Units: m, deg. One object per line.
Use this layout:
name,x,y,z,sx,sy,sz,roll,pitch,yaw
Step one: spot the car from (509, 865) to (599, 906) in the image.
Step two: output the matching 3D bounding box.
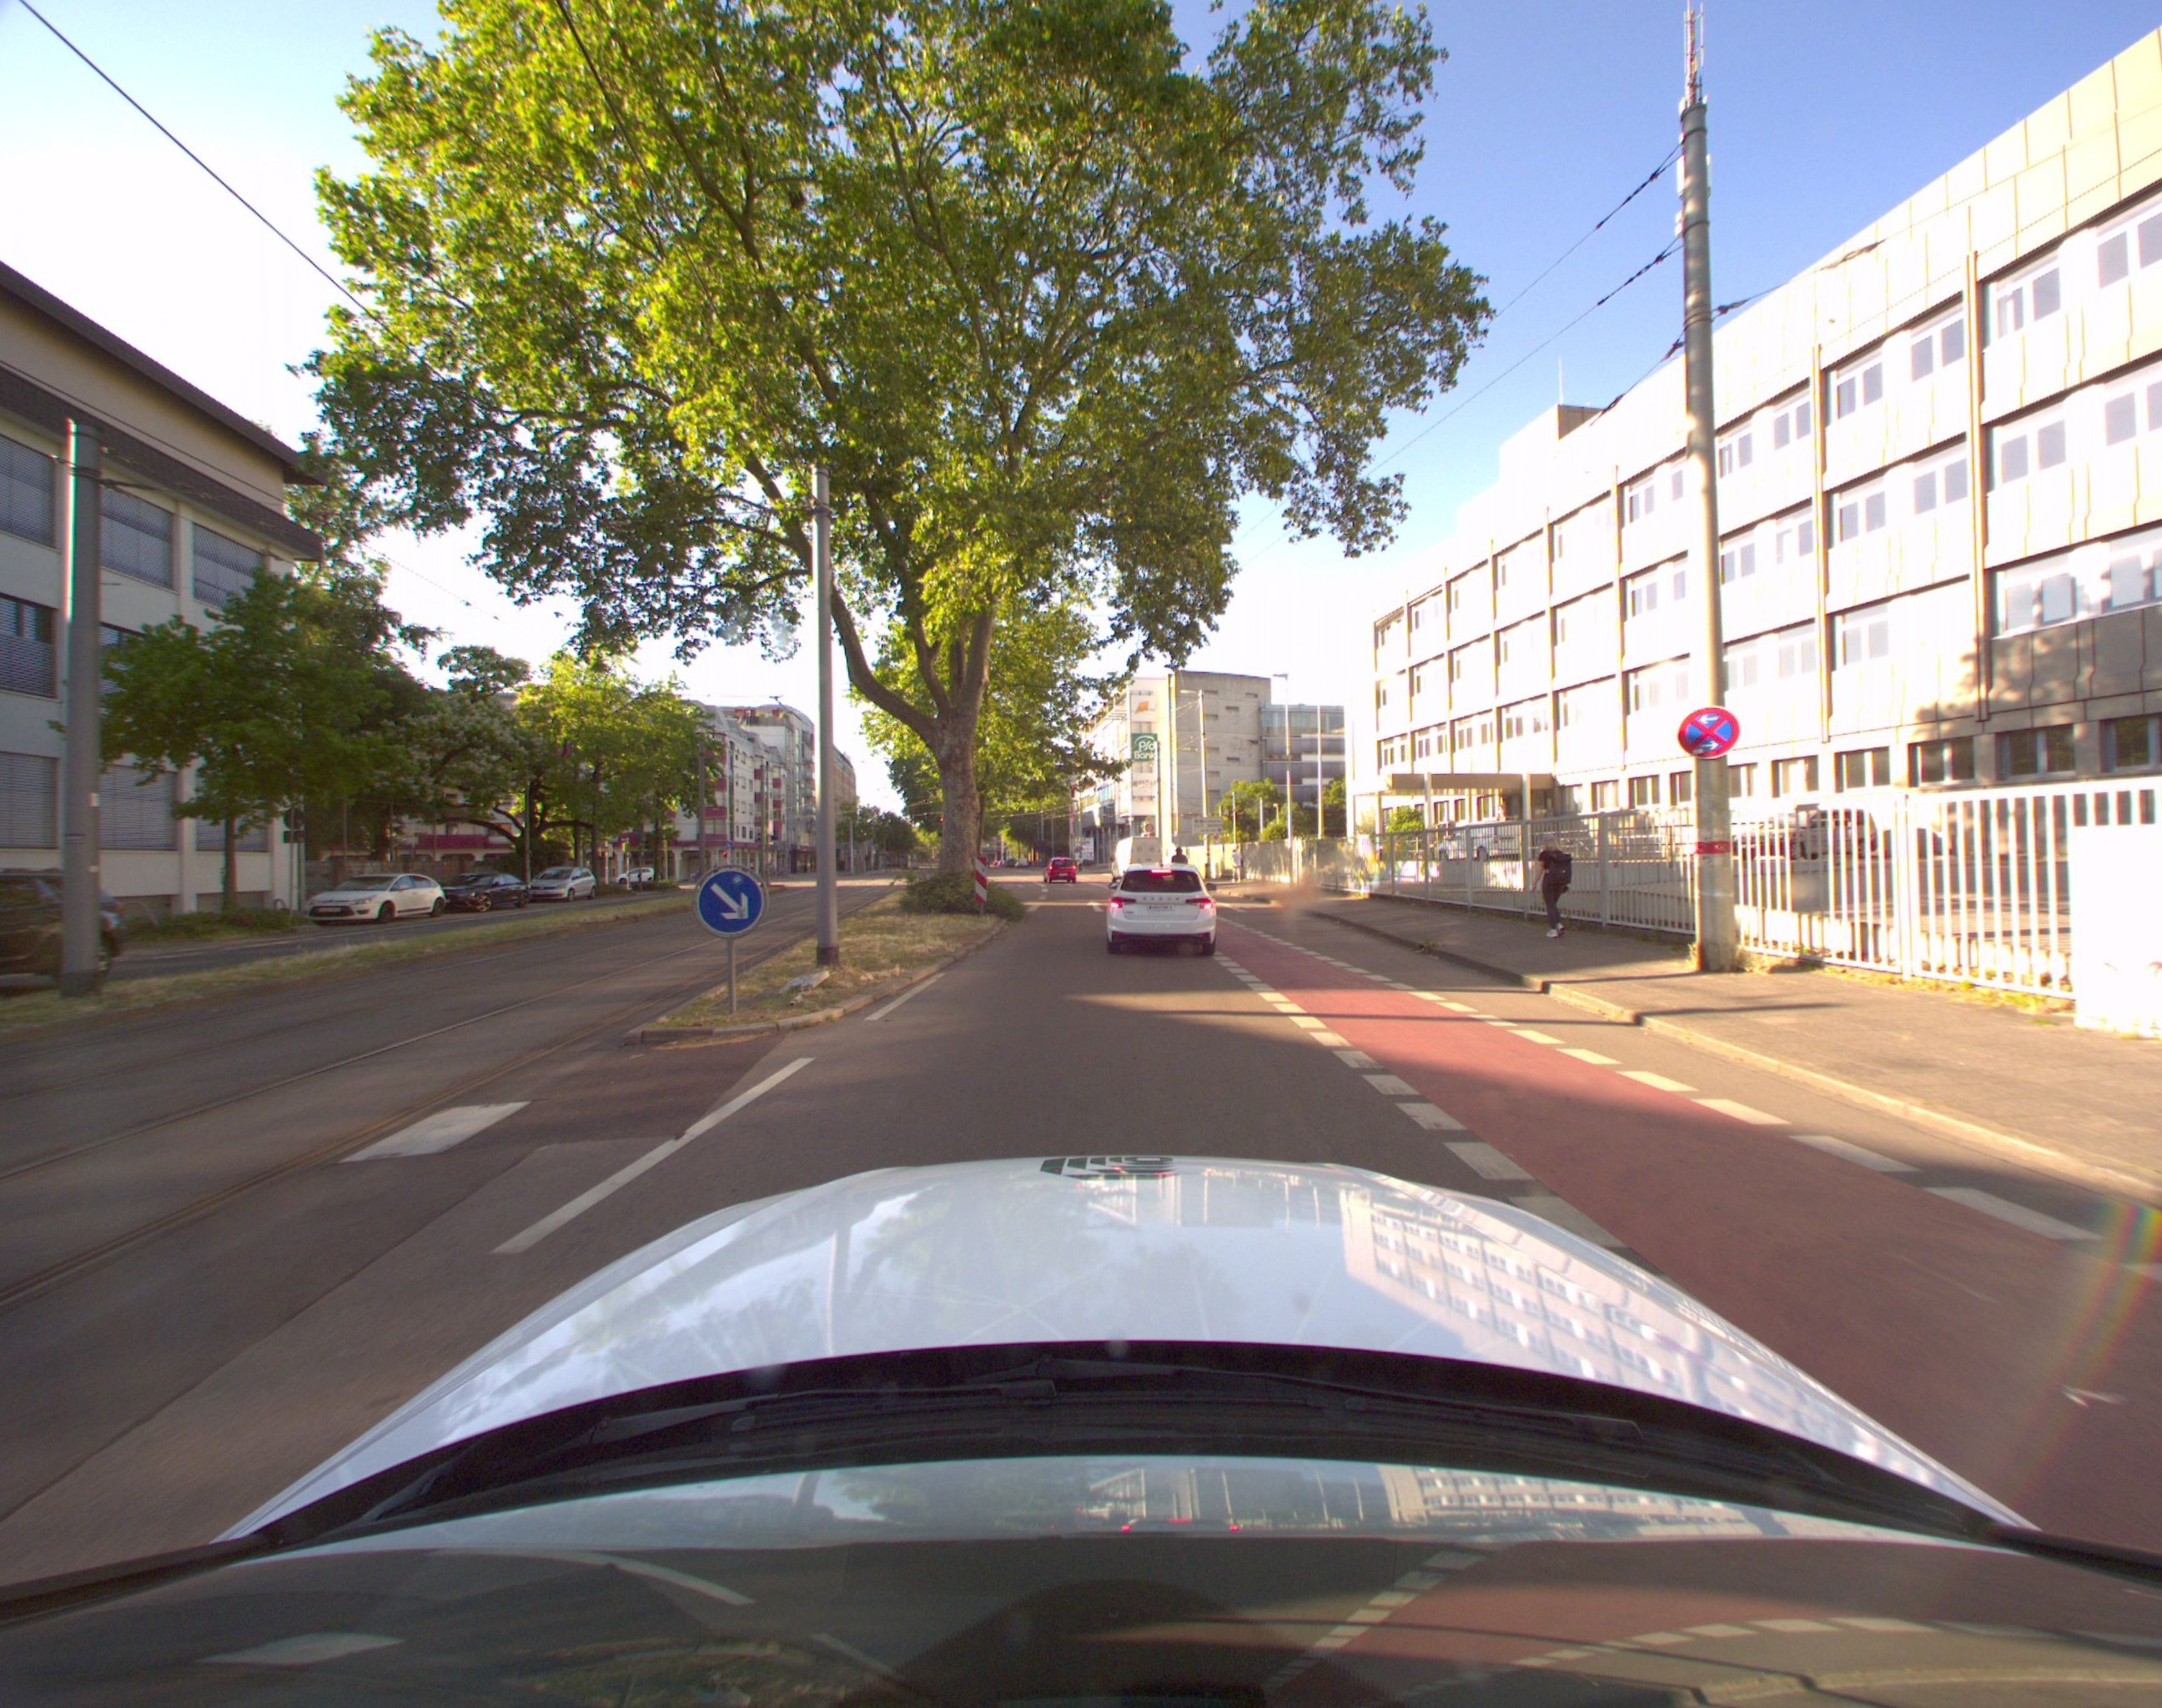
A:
car,-23.873,1.387,37.083,1.994,1.689,4.162,-1,0,-11

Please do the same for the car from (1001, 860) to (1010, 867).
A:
car,-19.028,2.415,204.554,1.886,1.528,4.413,-2,0,-12

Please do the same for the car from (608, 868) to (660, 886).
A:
car,-41.591,2.155,75.863,4.002,1.464,1.789,-2,0,-21

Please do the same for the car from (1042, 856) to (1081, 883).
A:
car,-1.197,0.882,47.876,1.839,1.489,3.705,-1,0,-9

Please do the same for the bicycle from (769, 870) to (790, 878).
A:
bicycle,-33.636,2.253,90.933,2.171,0.824,0.525,-1,0,-13

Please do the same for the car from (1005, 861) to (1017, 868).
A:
car,-16.052,2.449,186.523,2.479,1.528,4.415,-2,0,-11

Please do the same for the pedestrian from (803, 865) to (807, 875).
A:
pedestrian,-41.396,2.451,122.182,0.511,1.459,0.525,-1,-1,-13

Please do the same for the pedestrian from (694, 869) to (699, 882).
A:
pedestrian,-37.034,2.092,78.447,0.304,1.214,0.317,-2,0,-14

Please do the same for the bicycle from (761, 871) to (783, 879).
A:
bicycle,-33.702,2.257,88.781,2.171,0.787,0.638,-1,0,-13

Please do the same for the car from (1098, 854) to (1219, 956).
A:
car,1.405,0.773,14.116,1.792,1.501,3.989,0,0,7

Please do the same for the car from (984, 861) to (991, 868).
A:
car,-24.124,2.758,210.117,1.657,1.607,3.519,-2,0,-10

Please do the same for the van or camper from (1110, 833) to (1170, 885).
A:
van or camper,3.288,0.300,46.828,2.266,2.734,6.331,1,-1,-7

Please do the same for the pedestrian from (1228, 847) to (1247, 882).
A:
pedestrian,8.039,0.542,41.918,0.784,1.748,0.771,-2,0,-2

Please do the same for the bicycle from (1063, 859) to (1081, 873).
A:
bicycle,-0.950,1.267,86.612,2.005,1.379,0.639,-1,0,-42

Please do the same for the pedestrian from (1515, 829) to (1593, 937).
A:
pedestrian,7.671,0.451,13.255,0.693,1.684,0.930,-1,-1,1

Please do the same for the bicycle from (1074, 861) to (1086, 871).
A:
bicycle,-0.117,1.349,91.830,0.793,1.161,2.488,-1,0,-13

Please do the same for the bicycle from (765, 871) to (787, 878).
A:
bicycle,-33.566,2.254,89.573,2.171,0.787,0.490,-1,0,-13

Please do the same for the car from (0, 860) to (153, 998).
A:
car,-14.238,0.942,9.673,1.994,1.689,4.293,-1,0,-11

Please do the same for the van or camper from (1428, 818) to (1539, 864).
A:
van or camper,18.266,-0.545,37.316,1.980,1.909,4.983,-2,0,-10

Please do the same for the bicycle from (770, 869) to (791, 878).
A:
bicycle,-33.766,2.199,91.497,2.171,0.951,0.490,-1,0,-13

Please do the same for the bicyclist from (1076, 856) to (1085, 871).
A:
bicyclist,-0.067,1.096,91.625,0.786,1.635,0.636,-1,0,-13

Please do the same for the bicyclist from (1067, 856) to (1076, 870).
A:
bicyclist,-0.994,0.956,86.585,0.610,1.389,0.628,-1,0,-42

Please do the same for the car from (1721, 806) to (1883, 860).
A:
car,24.789,-0.707,28.067,4.252,1.718,1.987,-1,0,-10

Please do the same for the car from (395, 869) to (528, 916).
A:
car,-22.489,1.341,29.811,1.994,1.476,4.632,-1,0,-11

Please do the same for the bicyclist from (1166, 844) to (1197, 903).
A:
bicyclist,2.885,0.558,23.483,0.742,1.669,0.743,1,0,-5

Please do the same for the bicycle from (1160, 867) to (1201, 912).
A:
bicycle,2.859,0.995,23.645,0.742,1.224,2.152,1,0,-5

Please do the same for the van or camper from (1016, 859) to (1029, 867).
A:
van or camper,-12.513,1.882,172.785,2.147,1.750,4.413,-2,0,-12

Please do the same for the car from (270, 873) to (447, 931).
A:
car,-21.522,1.354,24.535,1.994,1.471,4.388,-1,0,-11

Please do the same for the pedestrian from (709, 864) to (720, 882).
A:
pedestrian,-34.836,1.811,77.347,0.709,1.662,1.029,-2,0,-14
